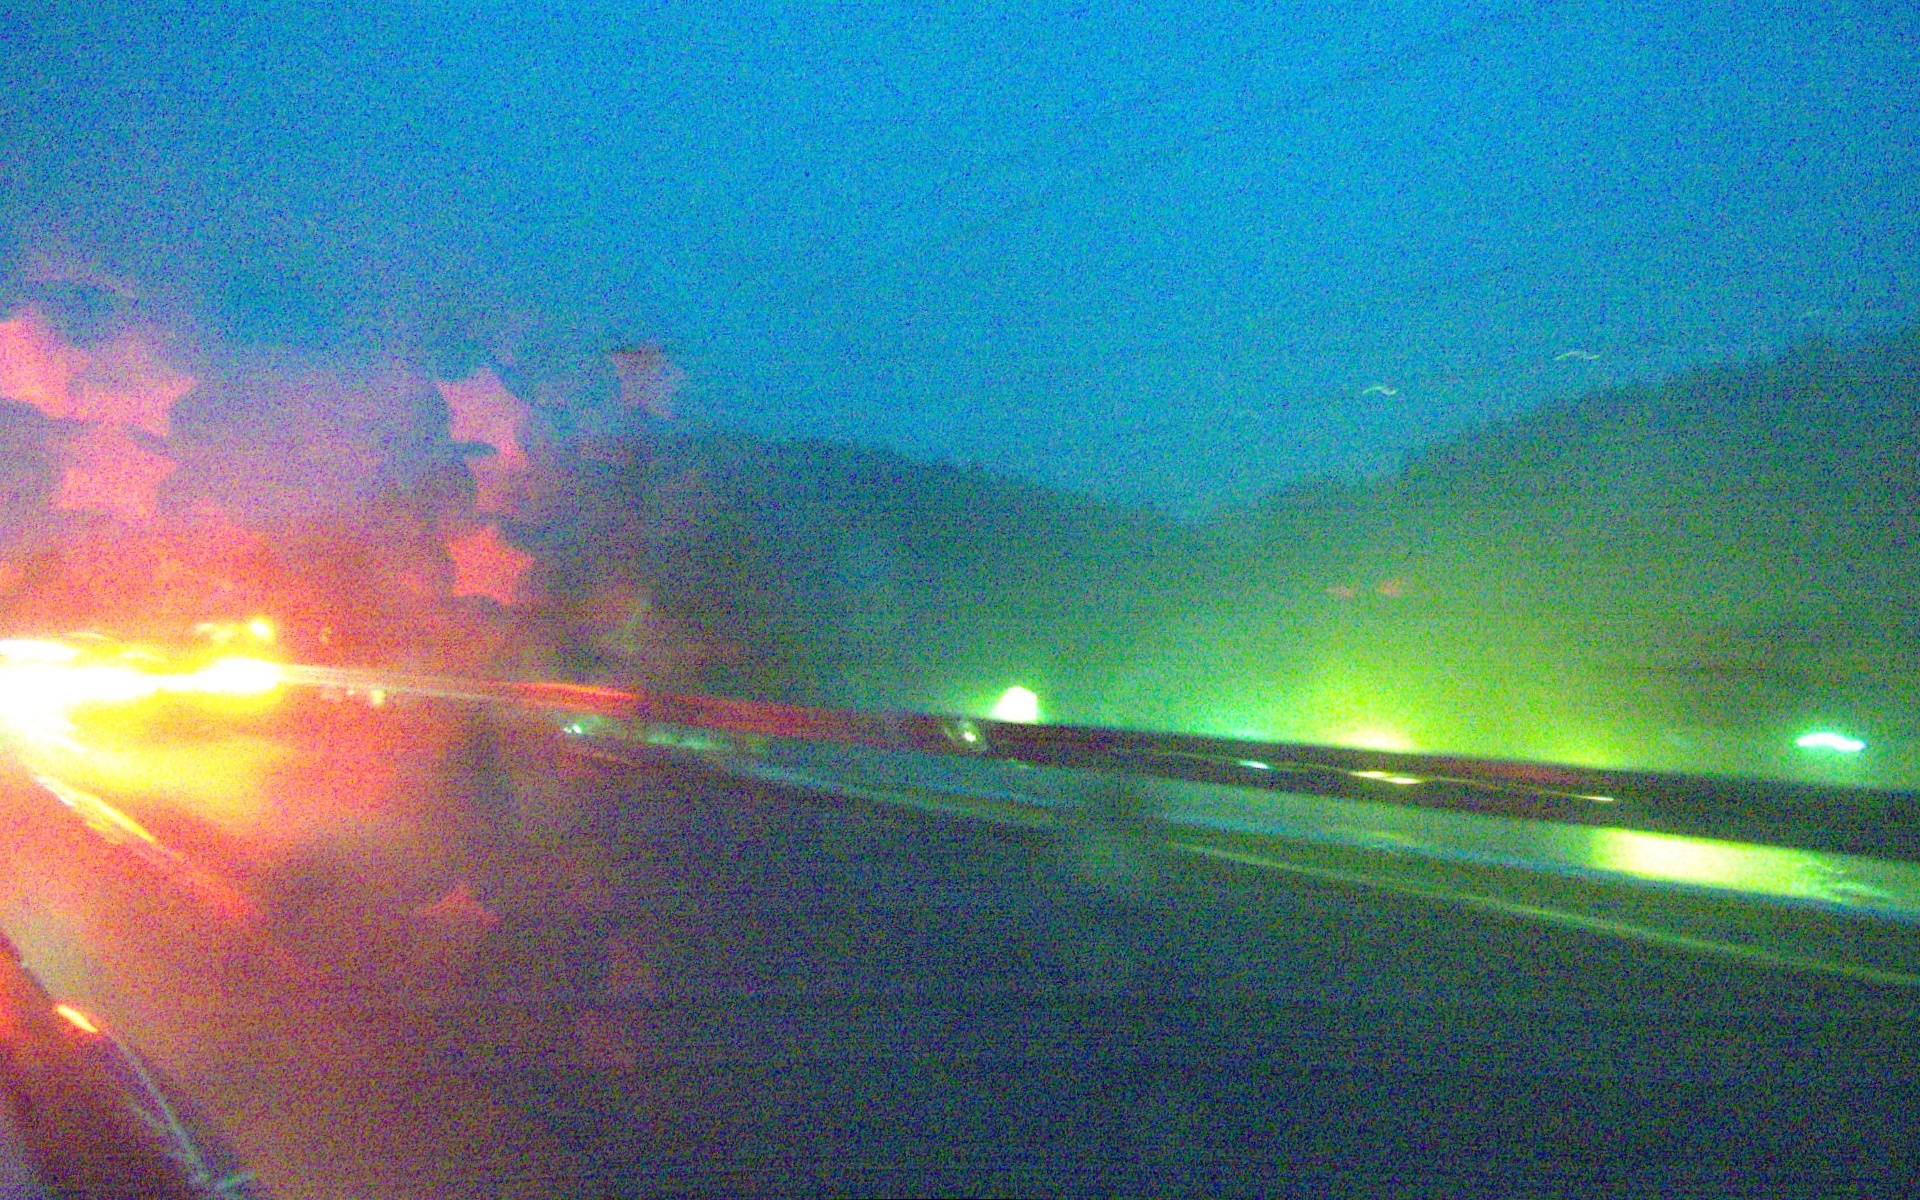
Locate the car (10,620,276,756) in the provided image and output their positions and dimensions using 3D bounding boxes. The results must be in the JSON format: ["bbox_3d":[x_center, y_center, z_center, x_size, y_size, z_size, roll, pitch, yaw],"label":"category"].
[{"bbox_3d":[-10.556,0.993,12.989,3.997,1.422,1.973,-1,-1,41],"label":"car"}]
